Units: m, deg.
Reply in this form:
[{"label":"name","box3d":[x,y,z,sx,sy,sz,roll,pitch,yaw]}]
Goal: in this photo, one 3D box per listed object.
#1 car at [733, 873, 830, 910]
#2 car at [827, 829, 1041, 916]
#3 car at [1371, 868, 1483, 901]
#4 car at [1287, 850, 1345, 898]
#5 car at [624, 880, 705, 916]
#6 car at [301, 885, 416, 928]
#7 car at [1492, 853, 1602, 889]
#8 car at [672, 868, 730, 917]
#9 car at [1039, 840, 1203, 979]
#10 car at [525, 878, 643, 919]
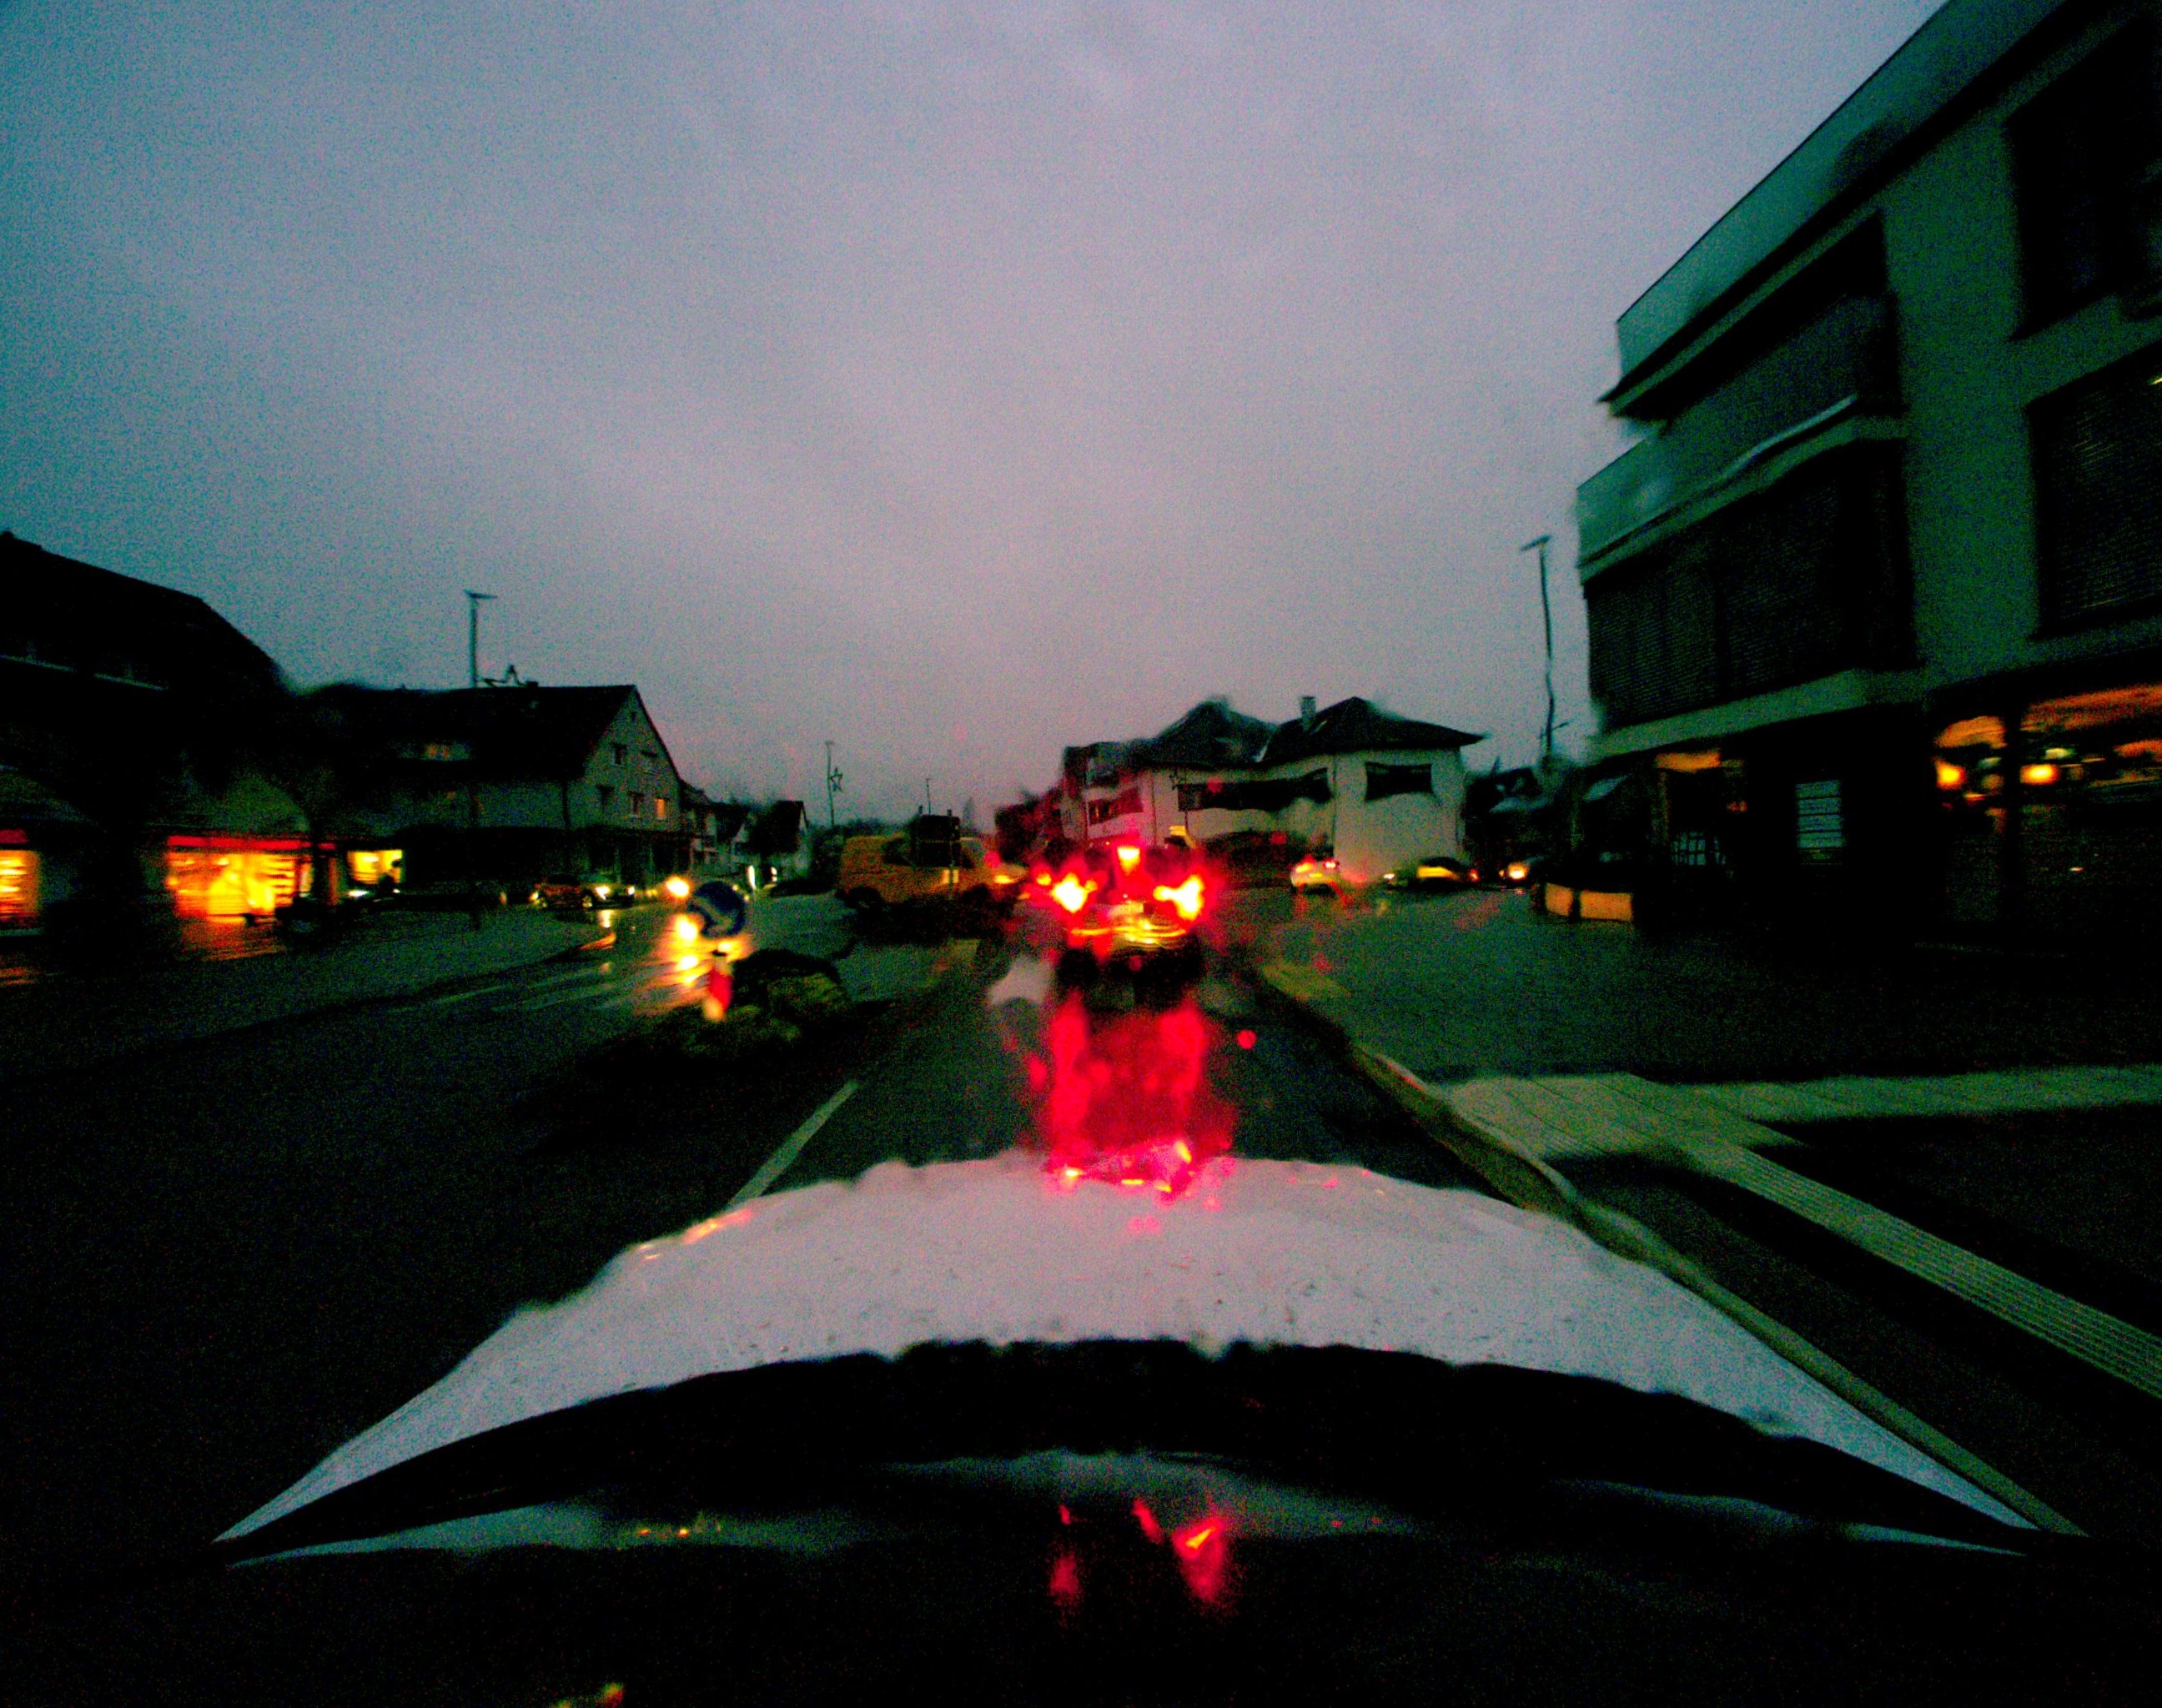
[{"label":"car","box3d":[-14.384,1.788,39.304,4.048,1.662,1.701,-1,-1,-5]},{"label":"car","box3d":[-3.653,0.480,20.441,4.846,2.014,2.009,-1,-1,16]},{"label":"car","box3d":[15.410,1.377,36.388,4.210,1.384,1.849,-1,-3,-2]},{"label":"car","box3d":[8.153,0.651,28.353,1.764,1.539,3.948,-2,0,15]},{"label":"car","box3d":[-17.958,1.895,35.289,1.707,1.422,4.004,-1,-3,-5]},{"label":"car","box3d":[-30.924,2.213,34.847,4.575,1.593,1.965,0,0,25]},{"label":"car","box3d":[20.955,0.769,36.756,3.973,1.552,1.696,-1,-3,0]},{"label":"car","box3d":[-12.107,1.171,26.076,1.510,1.411,3.341,-1,-1,-22]},{"label":"car","box3d":[0.602,0.664,11.585,1.907,1.615,3.954,-1,0,4]},{"label":"car","box3d":[-18.998,1.701,31.183,3.798,1.422,1.722,-2,-3,16]}]
